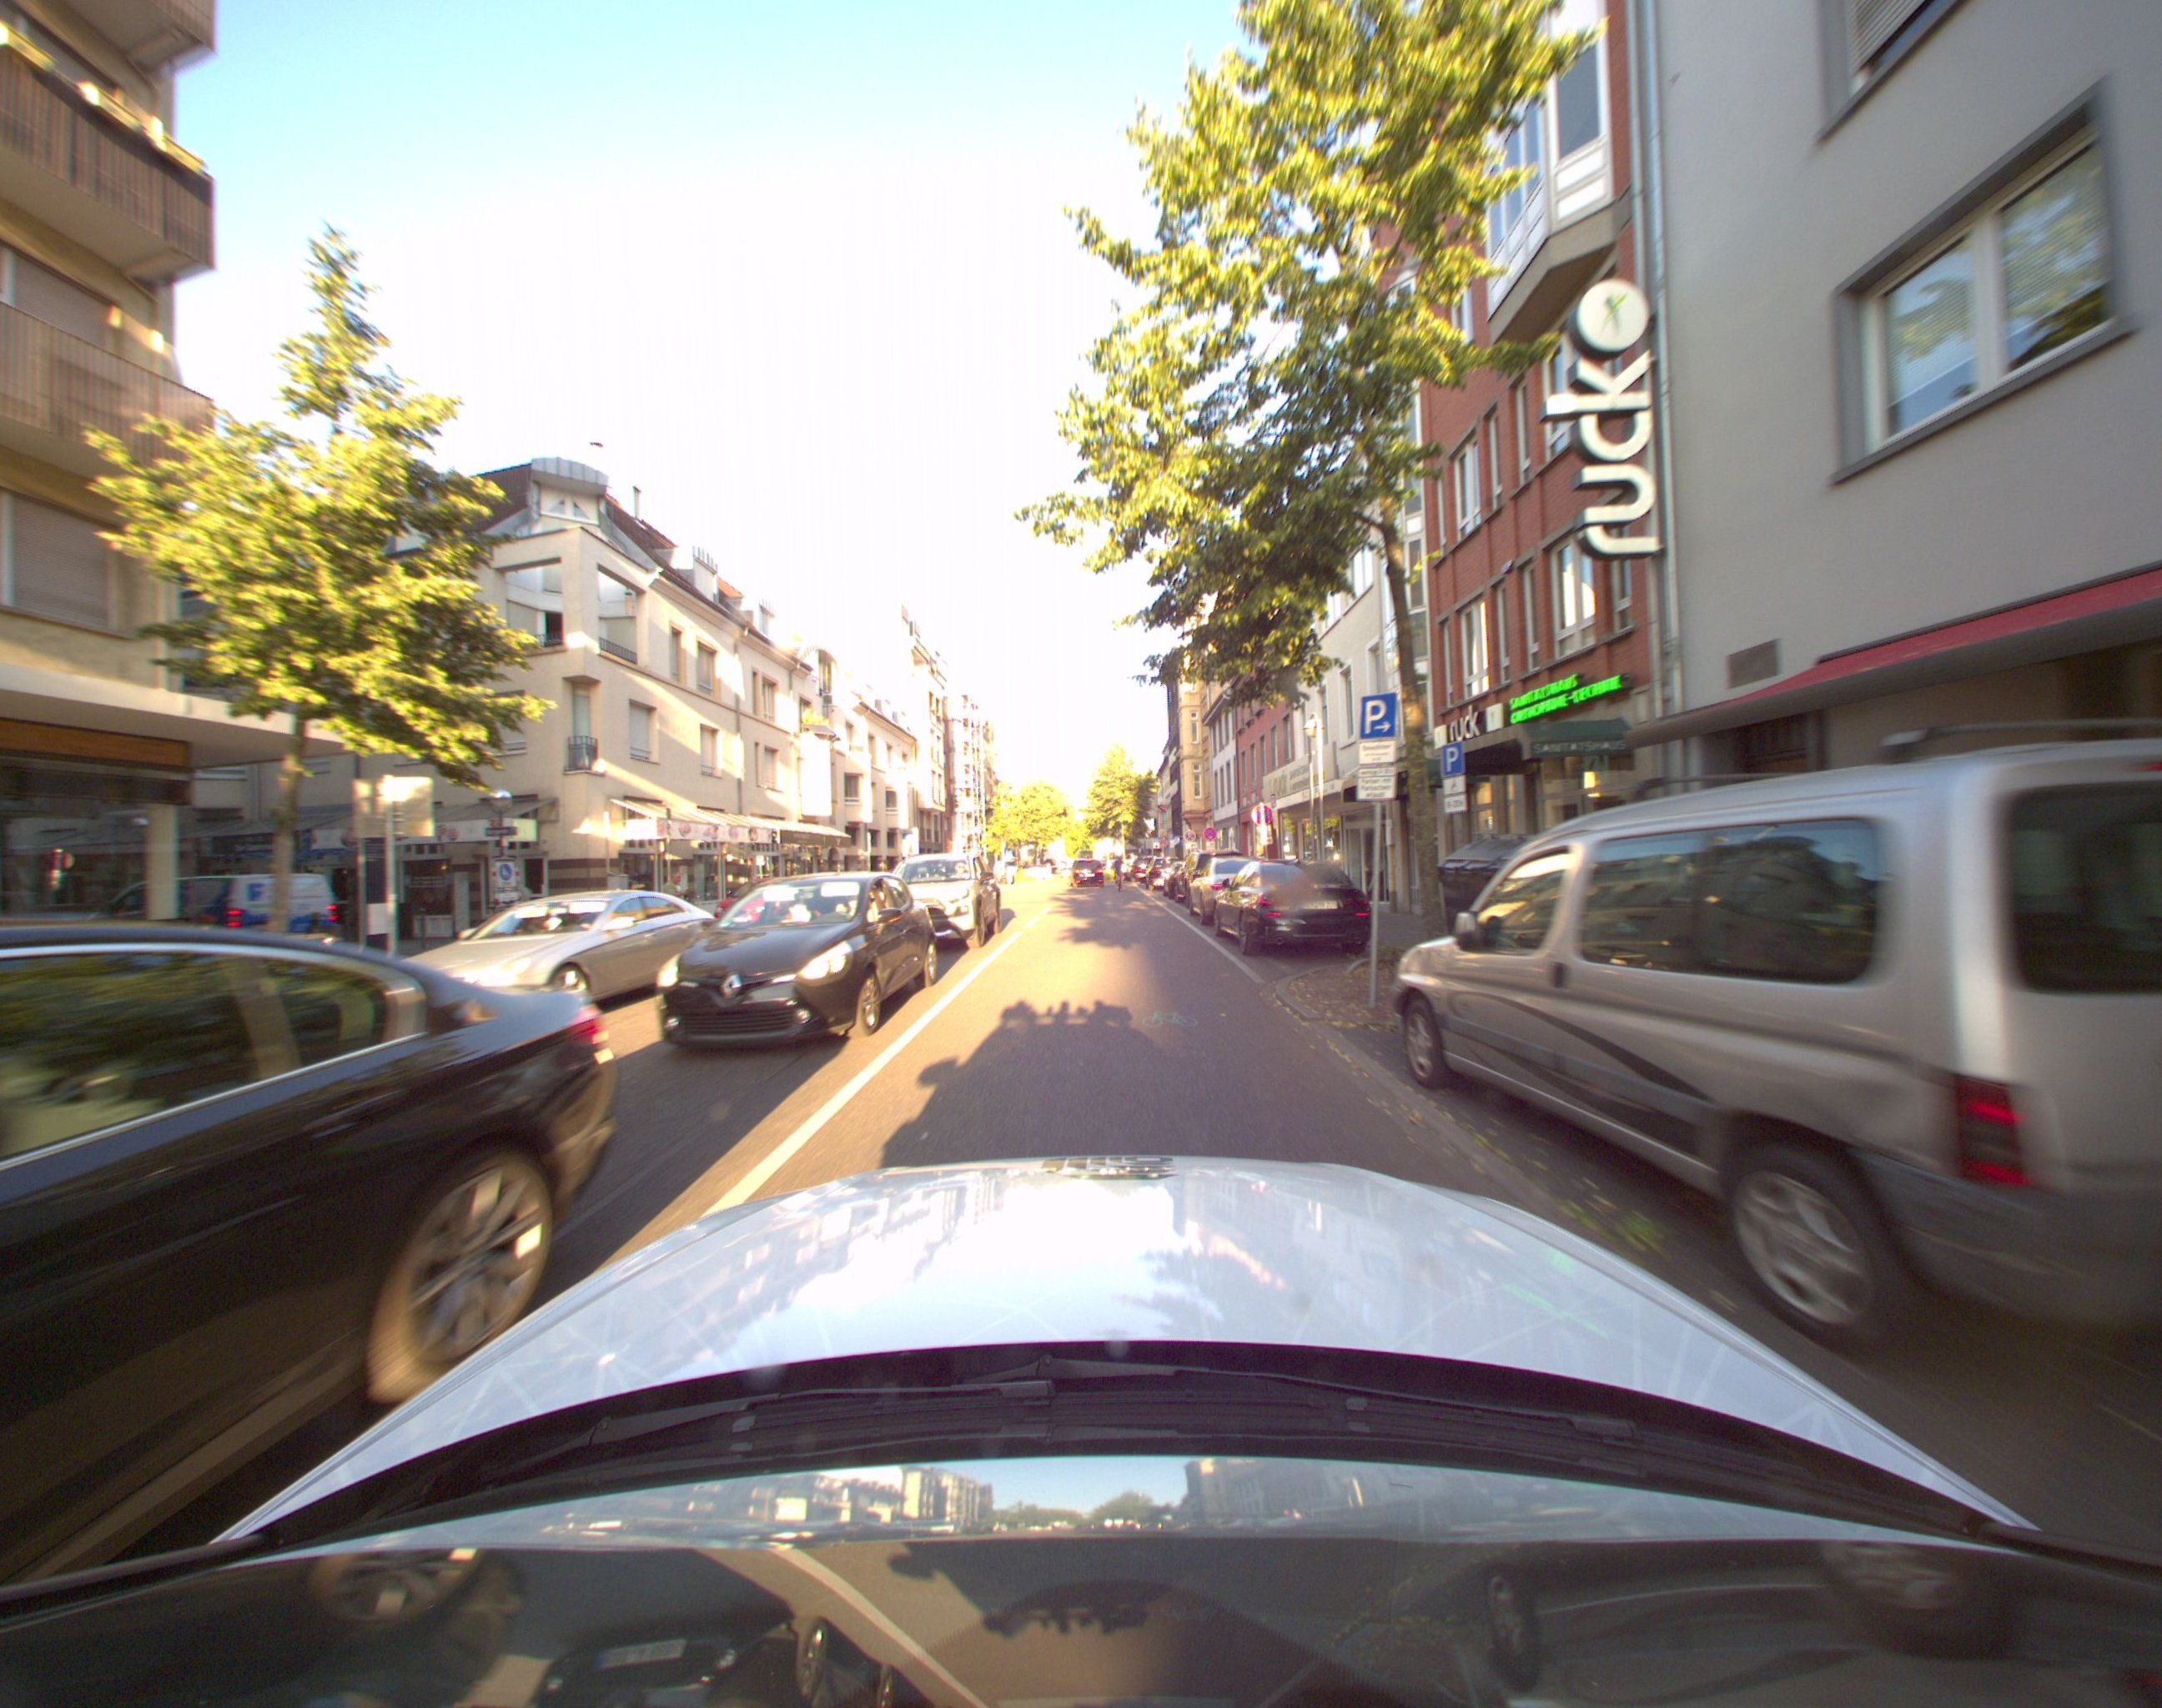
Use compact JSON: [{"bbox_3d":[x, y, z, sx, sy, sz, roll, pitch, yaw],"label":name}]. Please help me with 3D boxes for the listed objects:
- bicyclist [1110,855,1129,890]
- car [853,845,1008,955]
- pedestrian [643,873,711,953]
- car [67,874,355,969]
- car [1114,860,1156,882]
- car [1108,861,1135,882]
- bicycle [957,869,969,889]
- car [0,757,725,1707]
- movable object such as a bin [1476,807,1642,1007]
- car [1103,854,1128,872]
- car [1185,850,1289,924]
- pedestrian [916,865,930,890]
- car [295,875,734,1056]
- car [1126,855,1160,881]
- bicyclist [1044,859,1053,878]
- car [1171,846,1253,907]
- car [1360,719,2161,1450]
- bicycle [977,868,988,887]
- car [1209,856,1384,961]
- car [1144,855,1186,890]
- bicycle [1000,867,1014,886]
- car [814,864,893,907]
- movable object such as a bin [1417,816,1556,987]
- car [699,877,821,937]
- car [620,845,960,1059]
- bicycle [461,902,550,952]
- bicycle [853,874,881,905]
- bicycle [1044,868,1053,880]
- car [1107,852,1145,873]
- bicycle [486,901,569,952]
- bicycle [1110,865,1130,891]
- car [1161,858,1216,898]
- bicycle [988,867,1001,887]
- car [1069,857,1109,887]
[{"bbox_3d":[1.871,0.901,39.965,0.778,1.696,1.007,-3,-1,-1],"label":"bicyclist"},{"bbox_3d":[-2.596,0.771,15.274,1.934,1.645,4.738,-3,-1,0],"label":"car"},{"bbox_3d":[-9.122,1.308,18.414,0.895,1.676,0.999,-1,3,39],"label":"pedestrian"},{"bbox_3d":[-18.410,1.372,17.304,4.831,1.828,2.007,-1,-1,13],"label":"car"},{"bbox_3d":[3.943,1.251,60.113,2.961,1.536,1.432,-1,-1,-3],"label":"car"},{"bbox_3d":[3.377,1.474,69.055,1.988,1.668,4.506,-1,-1,-2],"label":"car"},{"bbox_3d":[-8.500,1.768,58.668,0.720,1.396,3.145,-1,-1,-7],"label":"bicycle"},{"bbox_3d":[-2.656,0.717,1.297,1.938,1.645,4.617,-3,-1,2],"label":"car"},{"bbox_3d":[4.569,0.477,7.890,0.833,1.774,1.205,-1,-1,-2],"label":"movable object such as a bin"},{"bbox_3d":[3.676,1.021,87.452,2.259,1.766,4.506,4,-1,-2],"label":"car"},{"bbox_3d":[3.569,0.734,19.477,1.804,1.527,4.997,-1,-1,3],"label":"car"},{"bbox_3d":[-10.672,1.584,55.013,0.713,1.641,0.856,-1,-1,6],"label":"pedestrian"},{"bbox_3d":[-6.274,1.098,9.883,1.986,1.511,4.510,-5,-1,1],"label":"car"},{"bbox_3d":[4.102,0.937,54.409,1.820,1.695,4.365,-1,-1,-1],"label":"car"},{"bbox_3d":[-3.192,1.426,80.248,0.778,1.829,1.007,-3,-1,-1],"label":"bicyclist"},{"bbox_3d":[4.103,0.714,26.336,1.877,1.754,5.058,-1,-1,1],"label":"car"},{"bbox_3d":[2.942,0.554,4.027,1.650,1.778,4.009,-1,0,-1],"label":"car"},{"bbox_3d":[-7.137,1.695,58.875,0.780,1.373,3.134,-1,-1,-7],"label":"bicycle"},{"bbox_3d":[3.322,0.754,13.464,1.747,1.420,4.510,-1,0,1],"label":"car"},{"bbox_3d":[4.189,0.916,41.000,1.805,1.668,4.207,-1,-1,2],"label":"car"},{"bbox_3d":[-5.398,1.615,59.123,0.843,1.351,3.179,-2,-1,-7],"label":"bicycle"},{"bbox_3d":[-8.202,1.102,29.630,1.704,1.454,3.726,-1,-1,2],"label":"car"},{"bbox_3d":[4.519,0.503,9.189,0.833,1.774,1.352,-1,-1,-2],"label":"movable object such as a bin"},{"bbox_3d":[-8.447,1.358,21.811,1.655,1.403,3.884,-1,-1,1],"label":"car"},{"bbox_3d":[-2.570,0.793,8.468,1.717,1.549,4.467,-3,-1,2],"label":"car"},{"bbox_3d":[-12.885,1.608,18.303,0.488,0.992,2.017,-1,-1,3],"label":"bicycle"},{"bbox_3d":[-9.688,1.587,37.012,0.608,1.375,2.359,-1,-1,1],"label":"bicycle"},{"bbox_3d":[-3.168,1.959,80.200,0.778,1.204,2.020,-3,-1,-1],"label":"bicycle"},{"bbox_3d":[4.872,0.905,87.711,3.967,2.014,2.003,-2,-1,5],"label":"car"},{"bbox_3d":[-12.337,1.597,18.237,0.488,0.992,2.015,-1,-1,0],"label":"bicycle"},{"bbox_3d":[1.891,1.153,39.924,0.778,1.204,2.020,-3,-1,-1],"label":"bicycle"},{"bbox_3d":[4.218,0.939,32.563,1.755,1.484,4.308,-1,-1,2],"label":"car"},{"bbox_3d":[-6.287,1.669,59.000,0.892,1.395,3.158,-2,-1,-7],"label":"bicycle"},{"bbox_3d":[0.406,1.026,47.142,1.990,1.602,4.502,-1,-1,-4],"label":"car"}]
